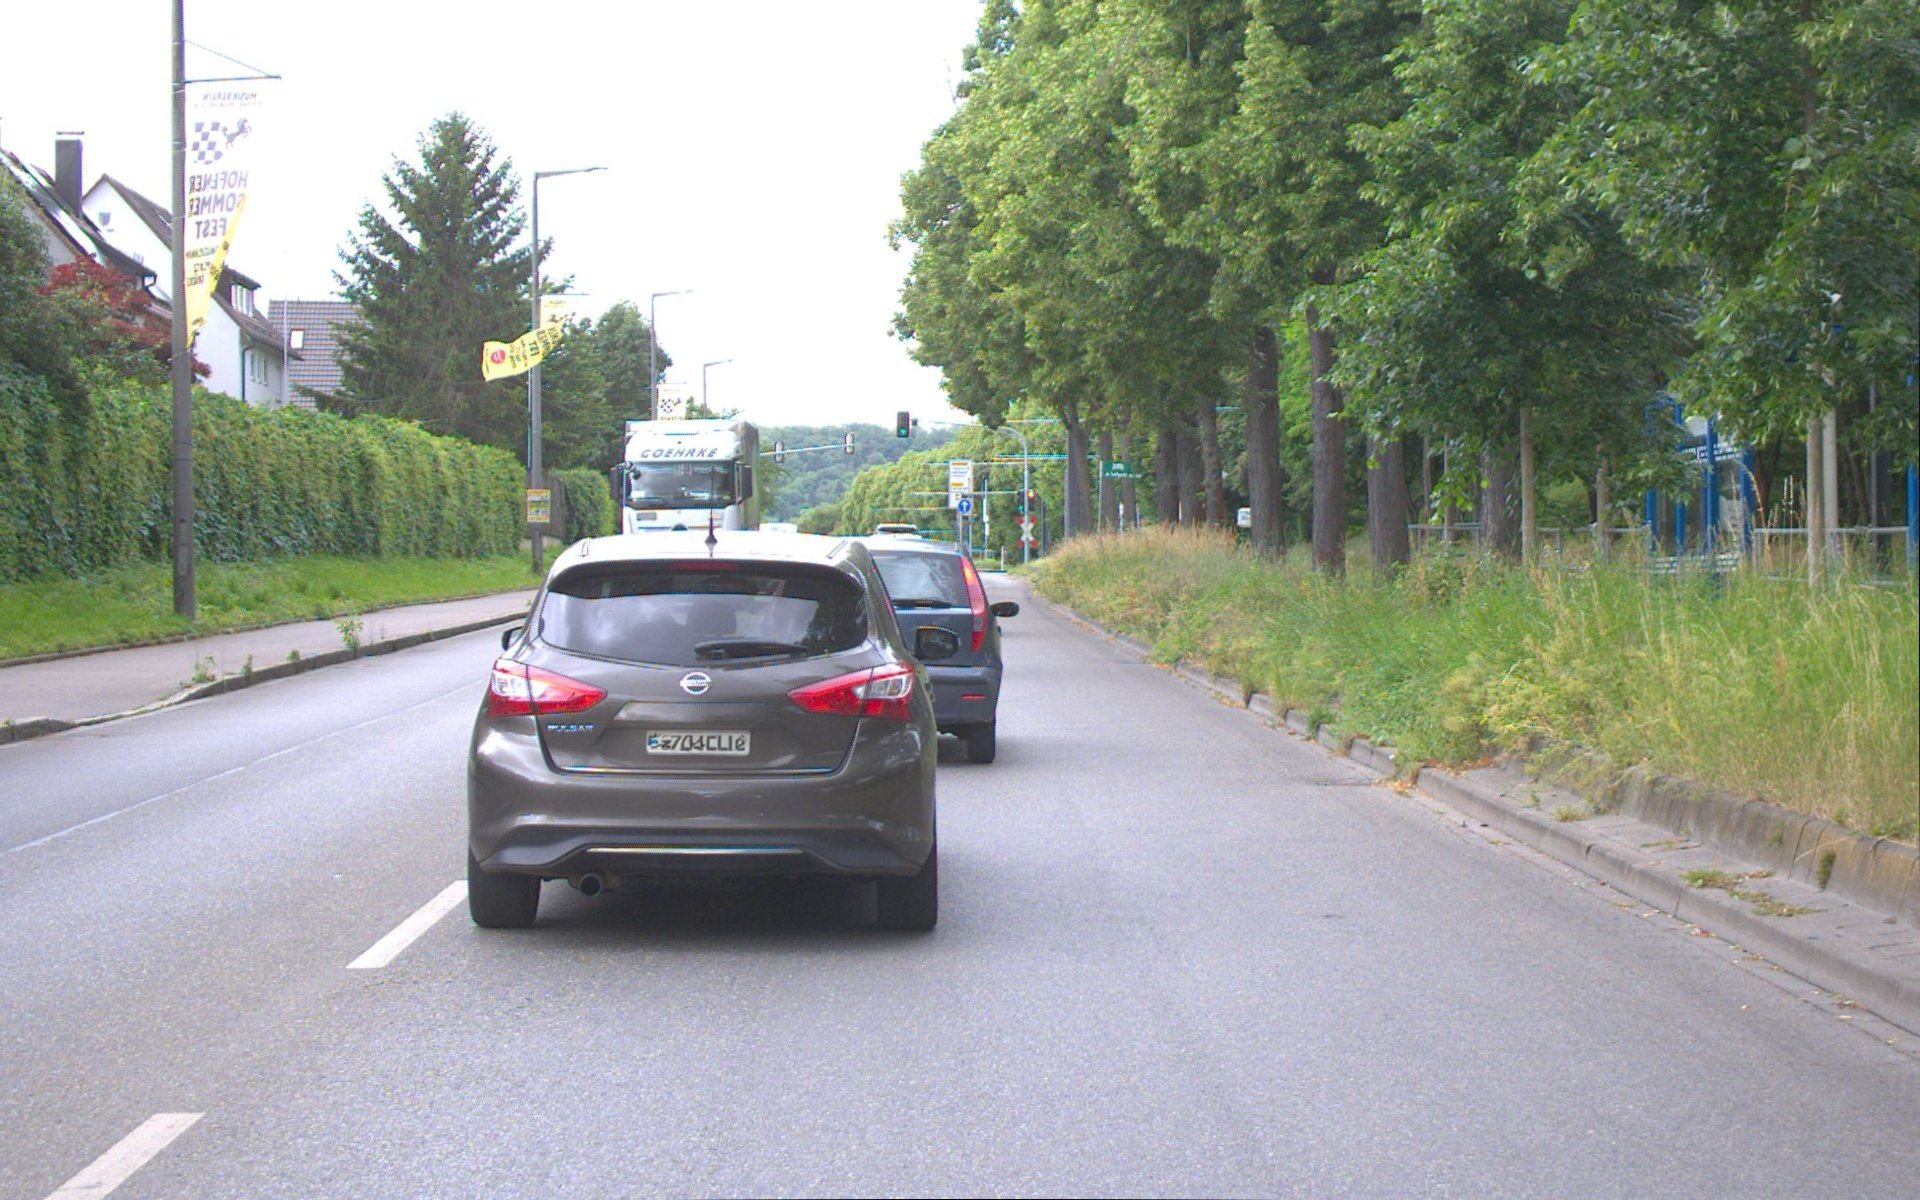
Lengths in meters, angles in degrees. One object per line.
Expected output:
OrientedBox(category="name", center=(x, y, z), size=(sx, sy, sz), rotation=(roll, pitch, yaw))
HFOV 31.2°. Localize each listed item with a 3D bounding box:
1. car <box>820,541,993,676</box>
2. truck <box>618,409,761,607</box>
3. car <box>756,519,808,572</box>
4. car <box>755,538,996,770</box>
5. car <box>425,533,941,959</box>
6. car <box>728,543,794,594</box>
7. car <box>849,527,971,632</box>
OrientedBox(category="car", center=(-0.581, 0.050, 37.683), size=(1.792, 1.392, 4.000), rotation=(0, 1, -1))
OrientedBox(category="truck", center=(-5.925, -1.964, 76.730), size=(2.549, 4.030, 10.621), rotation=(-2, 1, -2))
OrientedBox(category="car", center=(-6.686, -2.044, 129.117), size=(1.906, 1.925, 4.912), rotation=(-1, 1, -3))
OrientedBox(category="car", center=(-0.566, 0.313, 23.848), size=(1.538, 1.473, 3.764), rotation=(0, 1, -1))
OrientedBox(category="car", center=(-1.012, 0.477, 14.477), size=(1.835, 1.514, 4.483), rotation=(0, 1, -1))
OrientedBox(category="car", center=(-5.667, -0.910, 98.381), size=(1.732, 1.370, 4.240), rotation=(-1, 1, -2))
OrientedBox(category="car", center=(-0.752, -0.344, 52.409), size=(1.792, 1.533, 4.000), rotation=(0, 1, -1))
